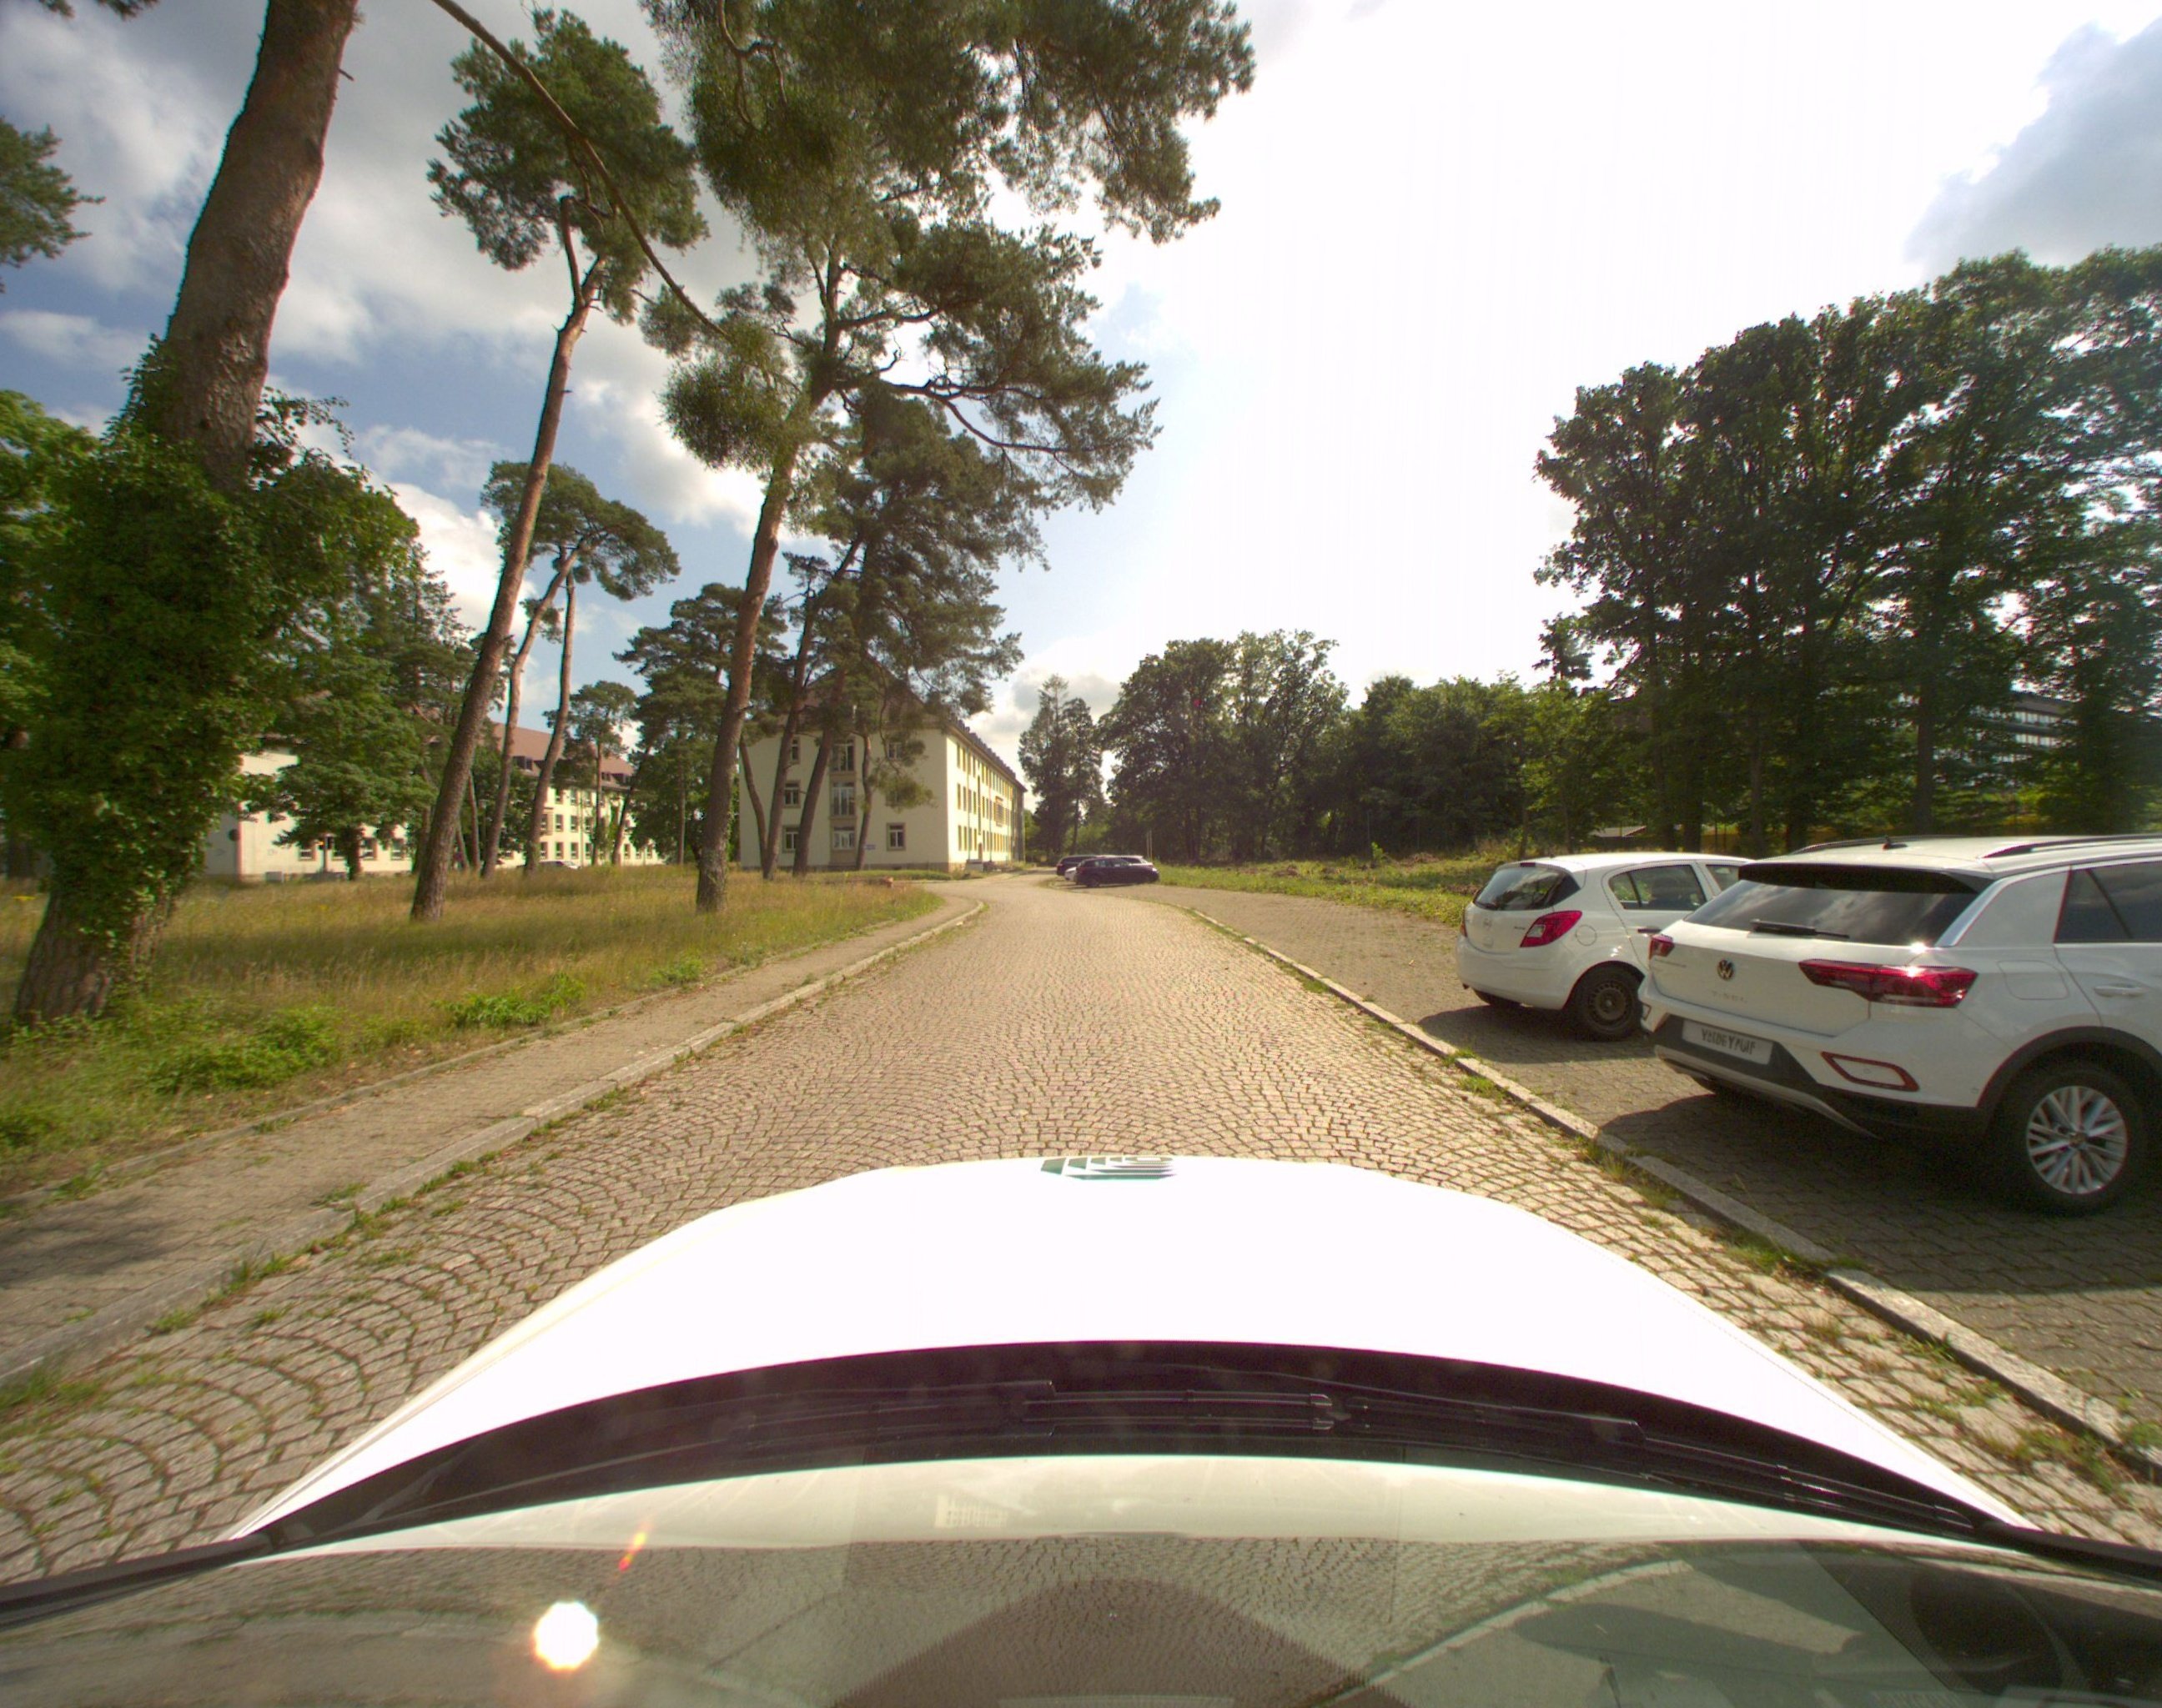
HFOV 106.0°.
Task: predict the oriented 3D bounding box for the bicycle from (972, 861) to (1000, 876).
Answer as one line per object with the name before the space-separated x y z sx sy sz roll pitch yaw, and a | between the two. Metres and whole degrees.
bicycle | -7.967 1.212 68.540 2.213 1.260 0.623 -1 -1 2

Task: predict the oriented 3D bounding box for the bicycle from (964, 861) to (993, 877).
bicycle | -8.318 1.220 65.865 2.210 1.260 0.624 -1 -1 6

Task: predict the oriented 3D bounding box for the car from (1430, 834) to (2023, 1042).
car | 5.540 0.661 7.346 4.032 1.464 1.703 -3 0 -2

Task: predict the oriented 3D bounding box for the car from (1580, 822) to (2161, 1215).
car | 5.131 0.623 4.255 3.976 1.507 1.745 -3 0 -2

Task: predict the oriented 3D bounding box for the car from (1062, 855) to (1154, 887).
car | 1.420 0.900 44.133 4.848 1.472 1.874 -2 1 -1

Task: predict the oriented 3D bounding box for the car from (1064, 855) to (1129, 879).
car | 1.040 0.894 56.800 4.386 1.484 1.765 -2 -1 -1

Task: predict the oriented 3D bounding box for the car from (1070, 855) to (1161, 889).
car | 1.708 0.878 40.944 4.321 1.500 1.825 -2 1 -8

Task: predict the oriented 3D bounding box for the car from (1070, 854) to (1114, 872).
car | 1.054 0.881 79.617 4.171 1.543 1.821 -2 -1 2

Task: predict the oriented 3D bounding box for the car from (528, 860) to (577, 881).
car | -55.069 1.714 84.895 4.044 1.991 1.713 -1 -1 1

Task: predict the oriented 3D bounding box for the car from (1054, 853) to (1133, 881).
car | 0.756 0.835 51.487 4.839 1.552 1.879 -2 -1 -1

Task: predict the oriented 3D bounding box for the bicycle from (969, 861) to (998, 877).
bicycle | -8.084 1.224 67.605 2.210 1.260 0.624 -1 -1 6
